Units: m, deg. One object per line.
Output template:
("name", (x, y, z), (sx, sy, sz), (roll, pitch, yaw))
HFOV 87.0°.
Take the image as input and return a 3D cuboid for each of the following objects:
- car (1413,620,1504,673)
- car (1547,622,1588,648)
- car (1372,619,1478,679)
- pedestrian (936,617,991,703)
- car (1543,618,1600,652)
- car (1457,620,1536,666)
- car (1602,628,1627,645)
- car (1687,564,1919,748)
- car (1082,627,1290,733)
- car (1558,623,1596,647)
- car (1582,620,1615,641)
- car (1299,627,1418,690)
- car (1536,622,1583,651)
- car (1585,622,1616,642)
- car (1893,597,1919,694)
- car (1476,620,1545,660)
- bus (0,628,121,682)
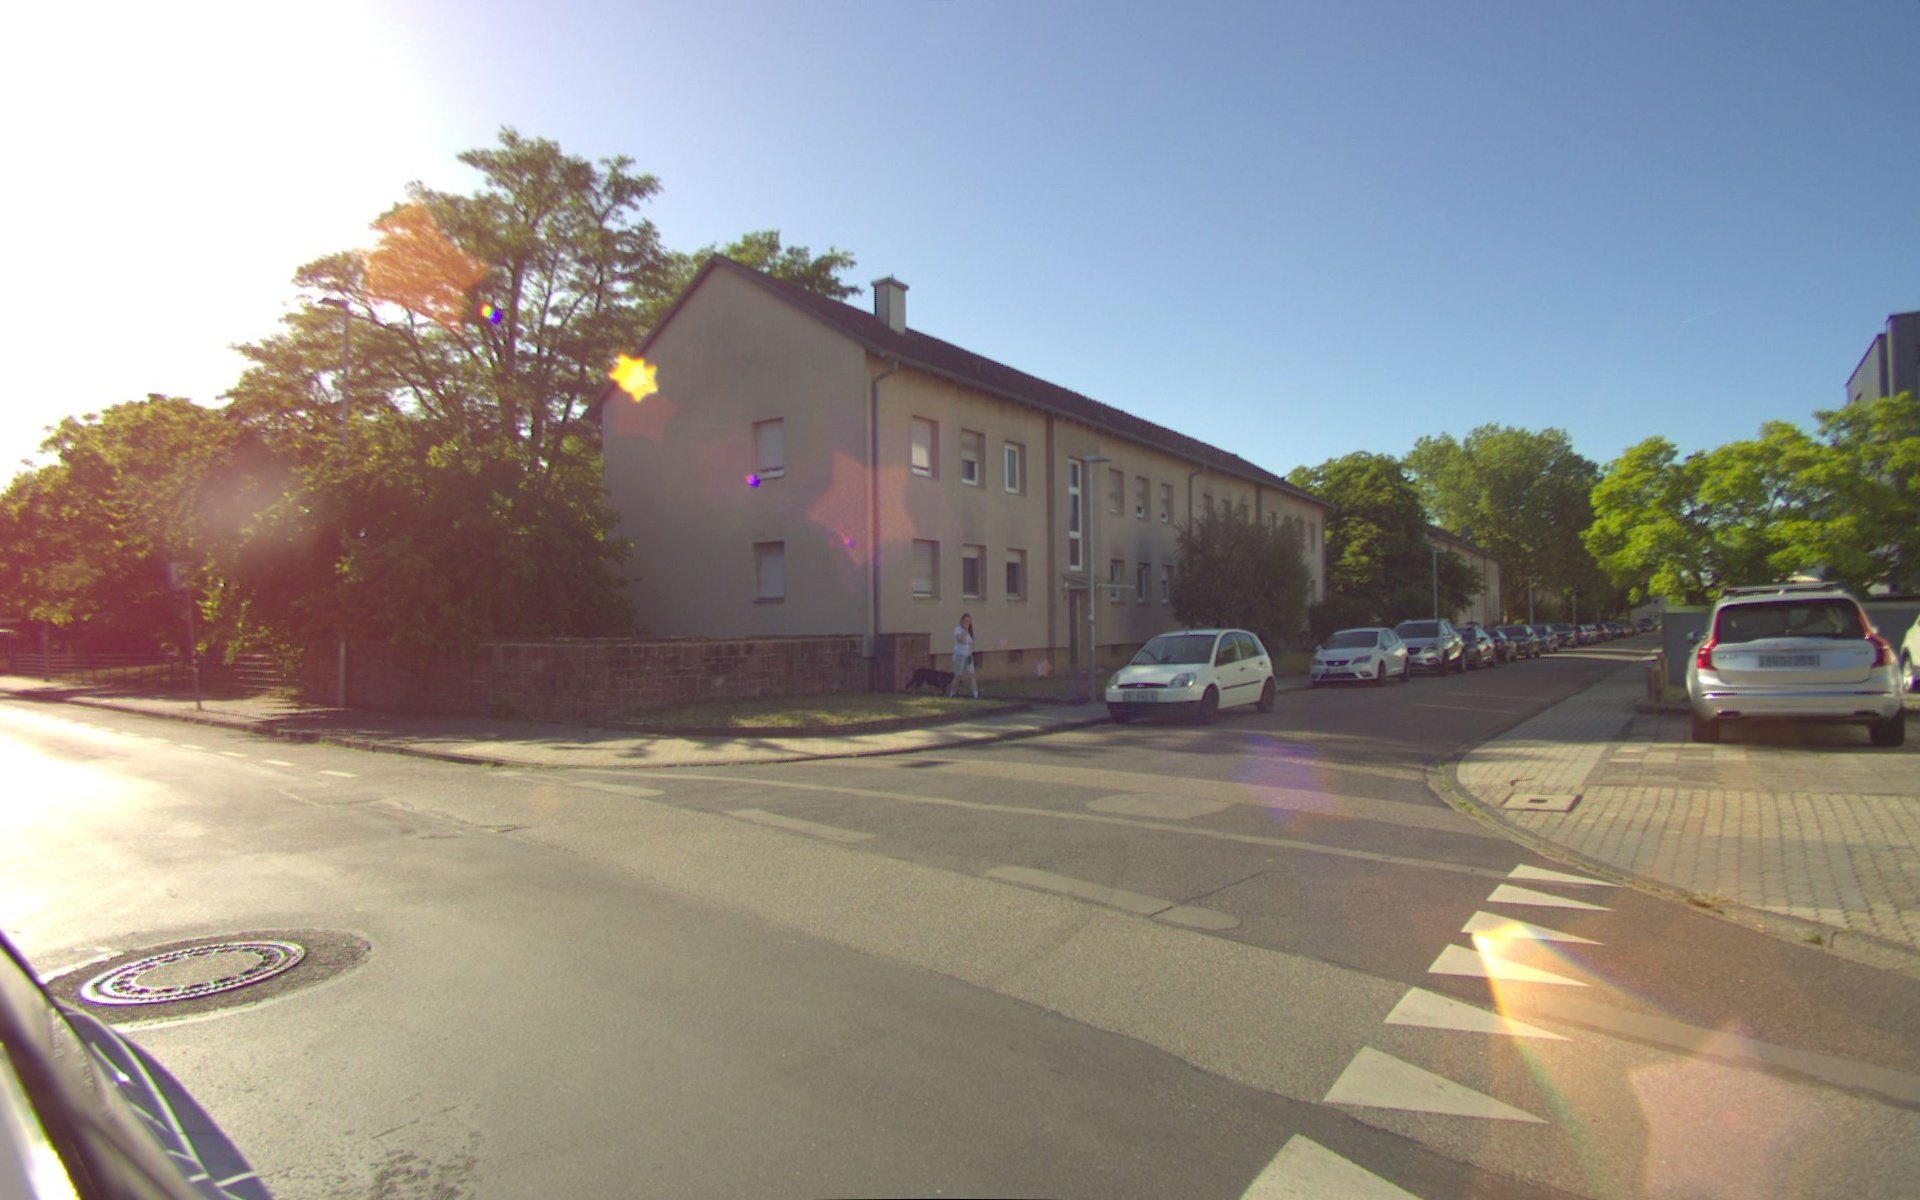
("car", (16.961, 1.555, 34.355), (1.869, 1.626, 3.728), (-4, -4, 40))
("car", (41.126, 2.380, 68.529), (1.868, 1.626, 3.730), (-4, -3, 38))
("car", (13.810, 1.431, 29.950), (1.869, 1.626, 3.728), (-4, -4, 40))
("pedestrian", (0.068, 1.117, 18.981), (0.638, 1.565, 0.776), (-4, -2, 36))
("car", (31.327, 1.787, 51.786), (1.869, 1.626, 3.728), (-4, -4, 40))
("car", (20.687, 1.633, 38.958), (1.869, 1.626, 3.728), (-4, -4, 40))
("car", (68.749, 3.808, 106.277), (1.868, 1.626, 3.730), (-4, -3, 38))
("car", (10.363, 0.666, 12.533), (1.996, 1.852, 4.448), (-6, -4, 36))
("car", (3.780, 1.245, 16.530), (1.868, 1.490, 3.731), (-5, -4, 38))
("car", (44.281, 2.477, 72.582), (1.868, 1.626, 3.730), (-4, -3, 38))
("car", (52.907, 2.489, 83.837), (1.868, 1.626, 3.730), (-4, -3, 38))
("car", (10.039, 1.443, 25.374), (1.867, 1.407, 3.733), (-4, -3, 36))
("car", (36.242, 2.165, 61.145), (1.868, 1.626, 3.730), (-4, -3, 38))
("car", (56.285, 2.809, 88.846), (1.868, 1.626, 3.730), (-4, -3, 38))
("car", (16.074, 0.662, 15.335), (1.994, 1.567, 4.465), (-3, -5, 33))
("car", (23.907, 1.725, 43.901), (1.869, 1.626, 3.728), (-4, -4, 40))
("bus", (-61.760, 3.672, 64.520), (12.263, 3.122, 3.140), (-3, -1, -22))
